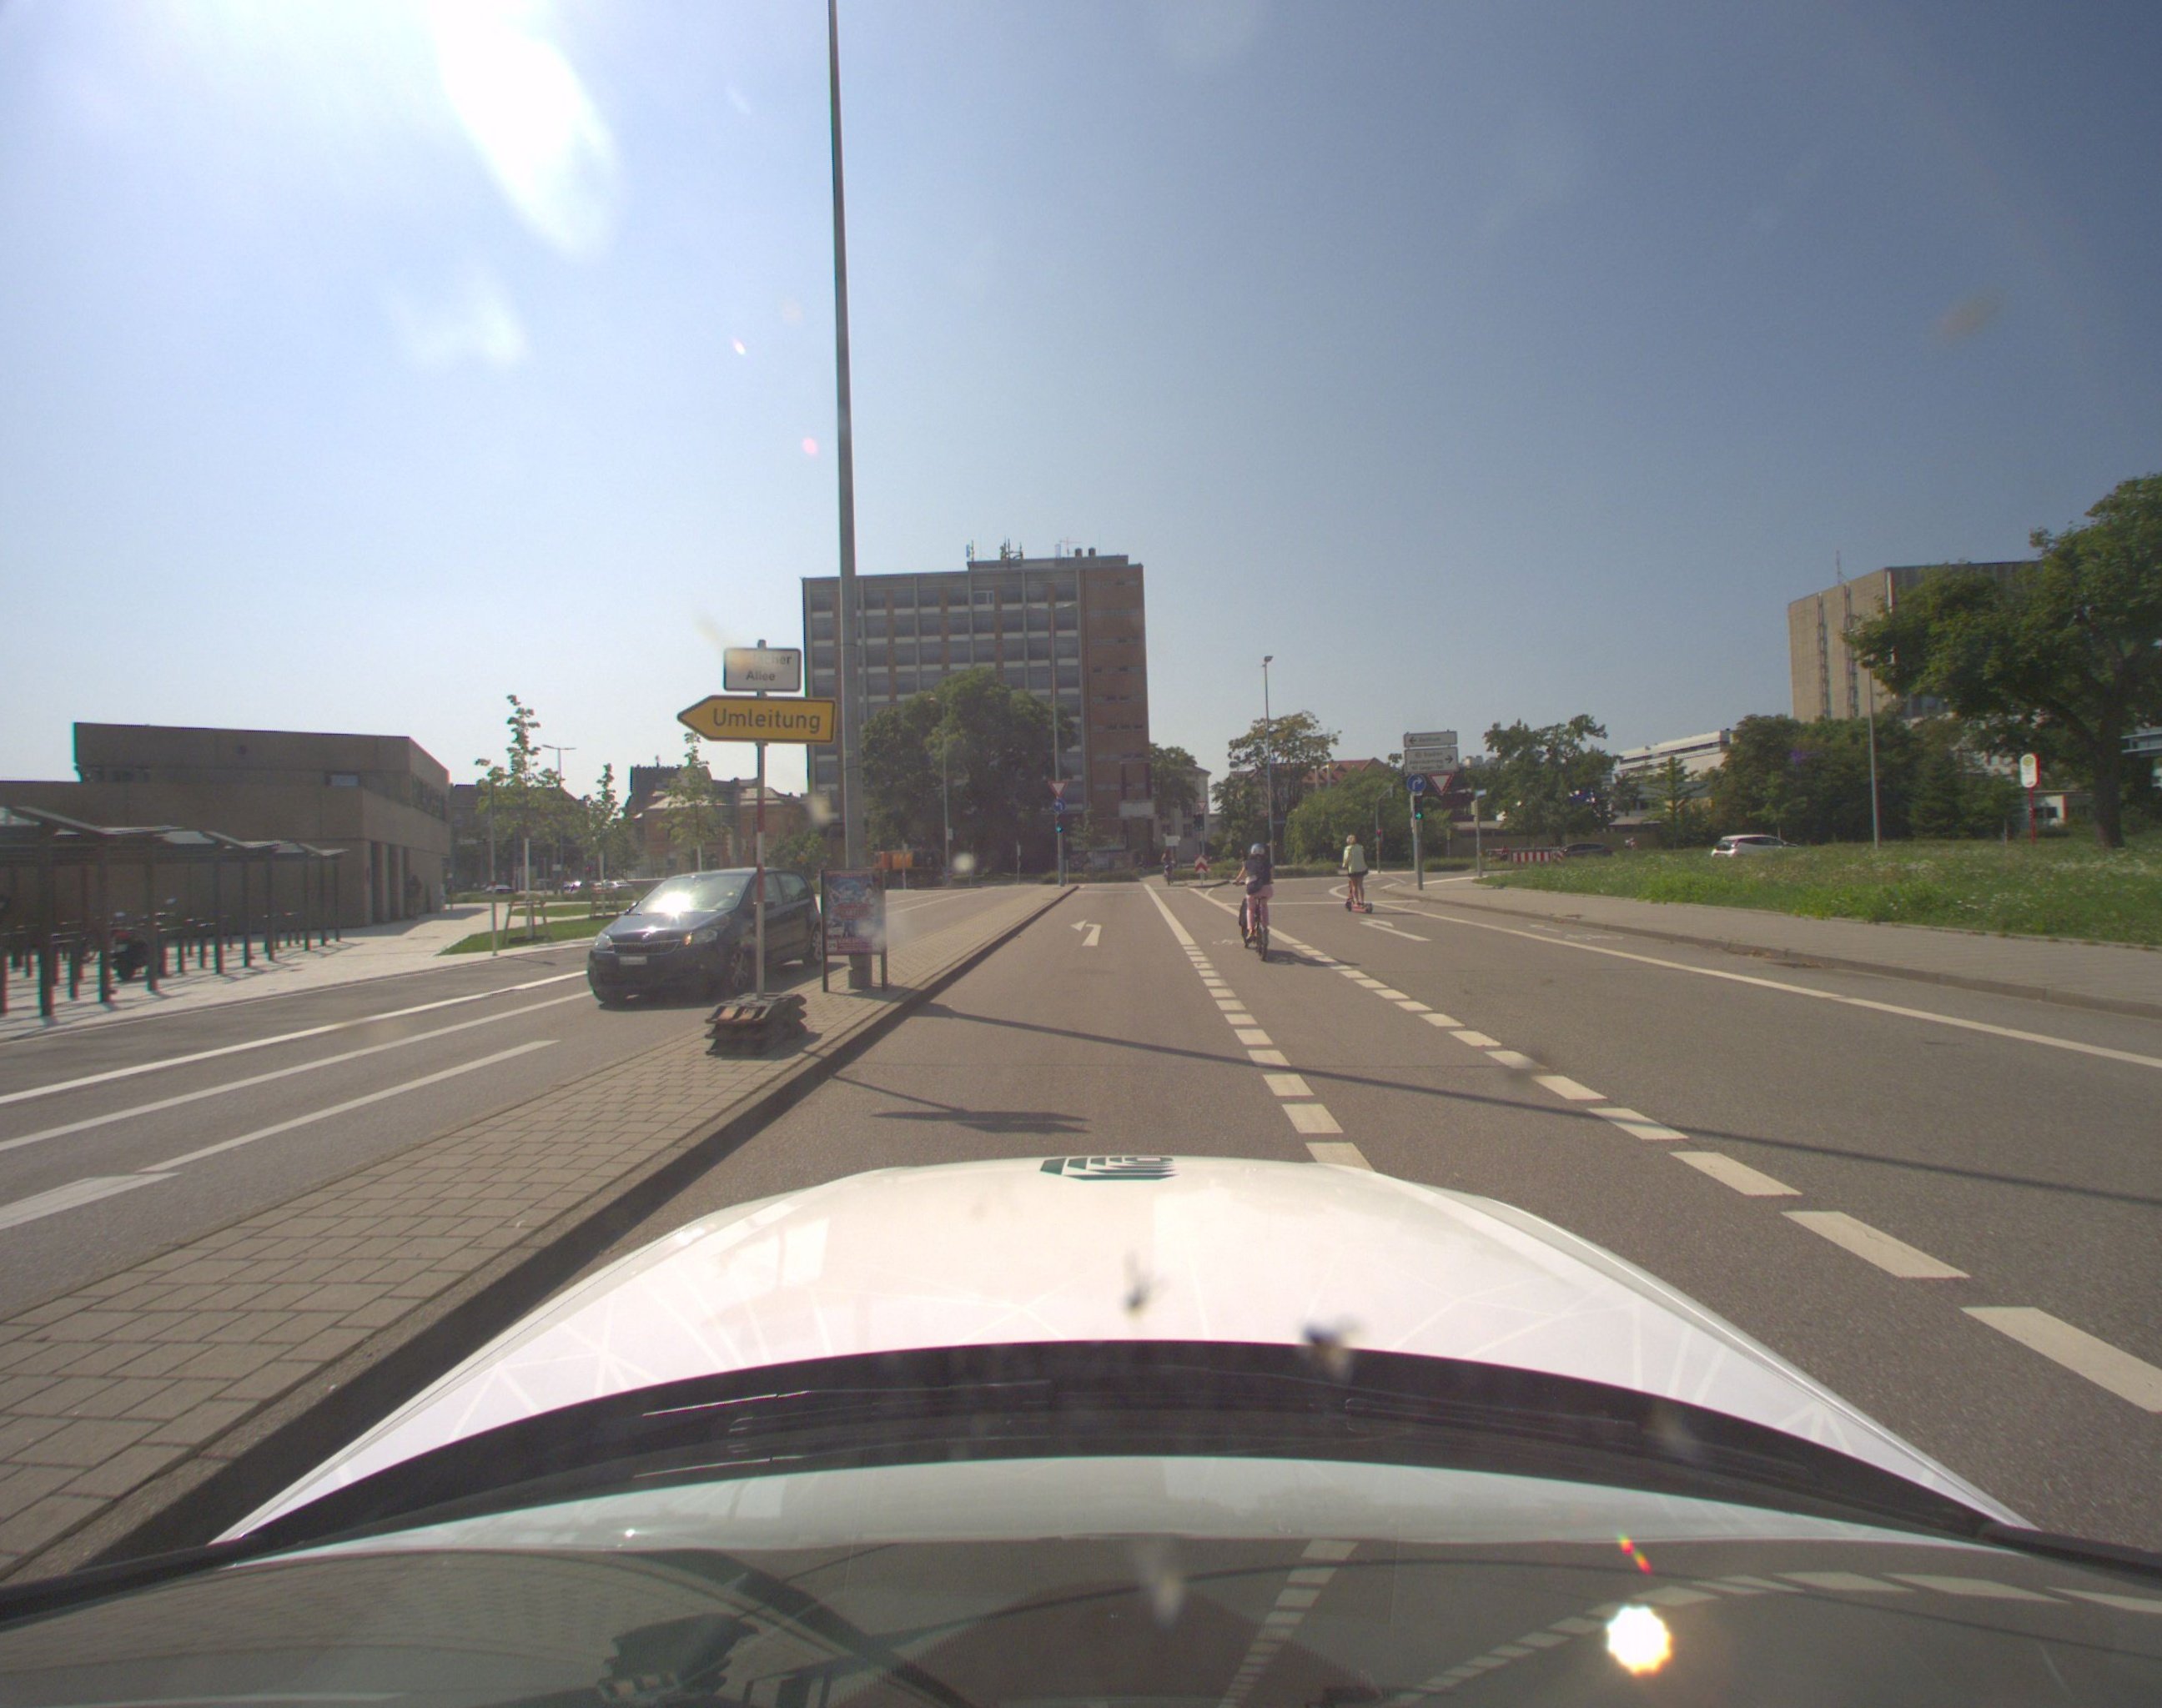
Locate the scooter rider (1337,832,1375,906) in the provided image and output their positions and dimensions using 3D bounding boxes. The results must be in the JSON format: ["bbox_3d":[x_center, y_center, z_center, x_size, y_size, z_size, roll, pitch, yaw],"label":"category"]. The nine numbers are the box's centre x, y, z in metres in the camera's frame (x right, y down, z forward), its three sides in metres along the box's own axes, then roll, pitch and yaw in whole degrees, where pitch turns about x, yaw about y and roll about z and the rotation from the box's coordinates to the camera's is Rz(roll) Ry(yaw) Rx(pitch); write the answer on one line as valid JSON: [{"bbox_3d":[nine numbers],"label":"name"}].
[{"bbox_3d":[6.733,0.372,19.979,0.757,1.775,0.557,-2,0,11],"label":"scooter rider"}]

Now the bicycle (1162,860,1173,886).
[{"bbox_3d":[3.933,0.844,37.114,0.442,1.116,1.449,-3,0,7],"label":"bicycle"}]

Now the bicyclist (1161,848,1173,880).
[{"bbox_3d":[3.938,0.455,37.293,0.447,1.421,0.497,-3,0,7],"label":"bicyclist"}]

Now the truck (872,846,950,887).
[{"bbox_3d":[-13.418,0.989,64.067,5.889,2.990,2.722,-2,-1,36],"label":"truck"}]

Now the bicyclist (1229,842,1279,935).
[{"bbox_3d":[2.585,0.504,12.217,0.600,1.335,0.660,-2,0,4],"label":"bicyclist"}]

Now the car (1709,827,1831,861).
[{"bbox_3d":[32.044,-0.448,37.975,3.966,1.391,1.852,-2,0,6],"label":"car"}]

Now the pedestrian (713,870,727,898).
[{"bbox_3d":[-20.190,1.687,45.540,0.534,1.552,0.412,-2,0,-43],"label":"pedestrian"}]

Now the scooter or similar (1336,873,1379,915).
[{"bbox_3d":[6.747,0.969,19.950,0.767,0.926,1.625,-2,0,12],"label":"scooter or similar"}]

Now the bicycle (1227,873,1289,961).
[{"bbox_3d":[2.612,0.892,12.178,0.601,1.163,1.812,-2,0,4],"label":"bicycle"}]

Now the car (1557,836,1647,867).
[{"bbox_3d":[29.842,-0.152,46.738,3.968,1.565,1.826,-2,0,5],"label":"car"}]

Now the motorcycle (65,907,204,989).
[{"bbox_3d":[-16.781,1.622,14.527,0.606,1.210,2.237,-2,0,-21],"label":"motorcycle"}]

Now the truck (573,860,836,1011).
[{"bbox_3d":[-4.546,0.882,10.460,1.549,1.504,3.622,-3,0,2],"label":"truck"}]

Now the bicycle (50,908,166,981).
[{"bbox_3d":[-18.713,1.707,15.716,0.606,1.210,1.797,-2,0,-21],"label":"bicycle"}]
